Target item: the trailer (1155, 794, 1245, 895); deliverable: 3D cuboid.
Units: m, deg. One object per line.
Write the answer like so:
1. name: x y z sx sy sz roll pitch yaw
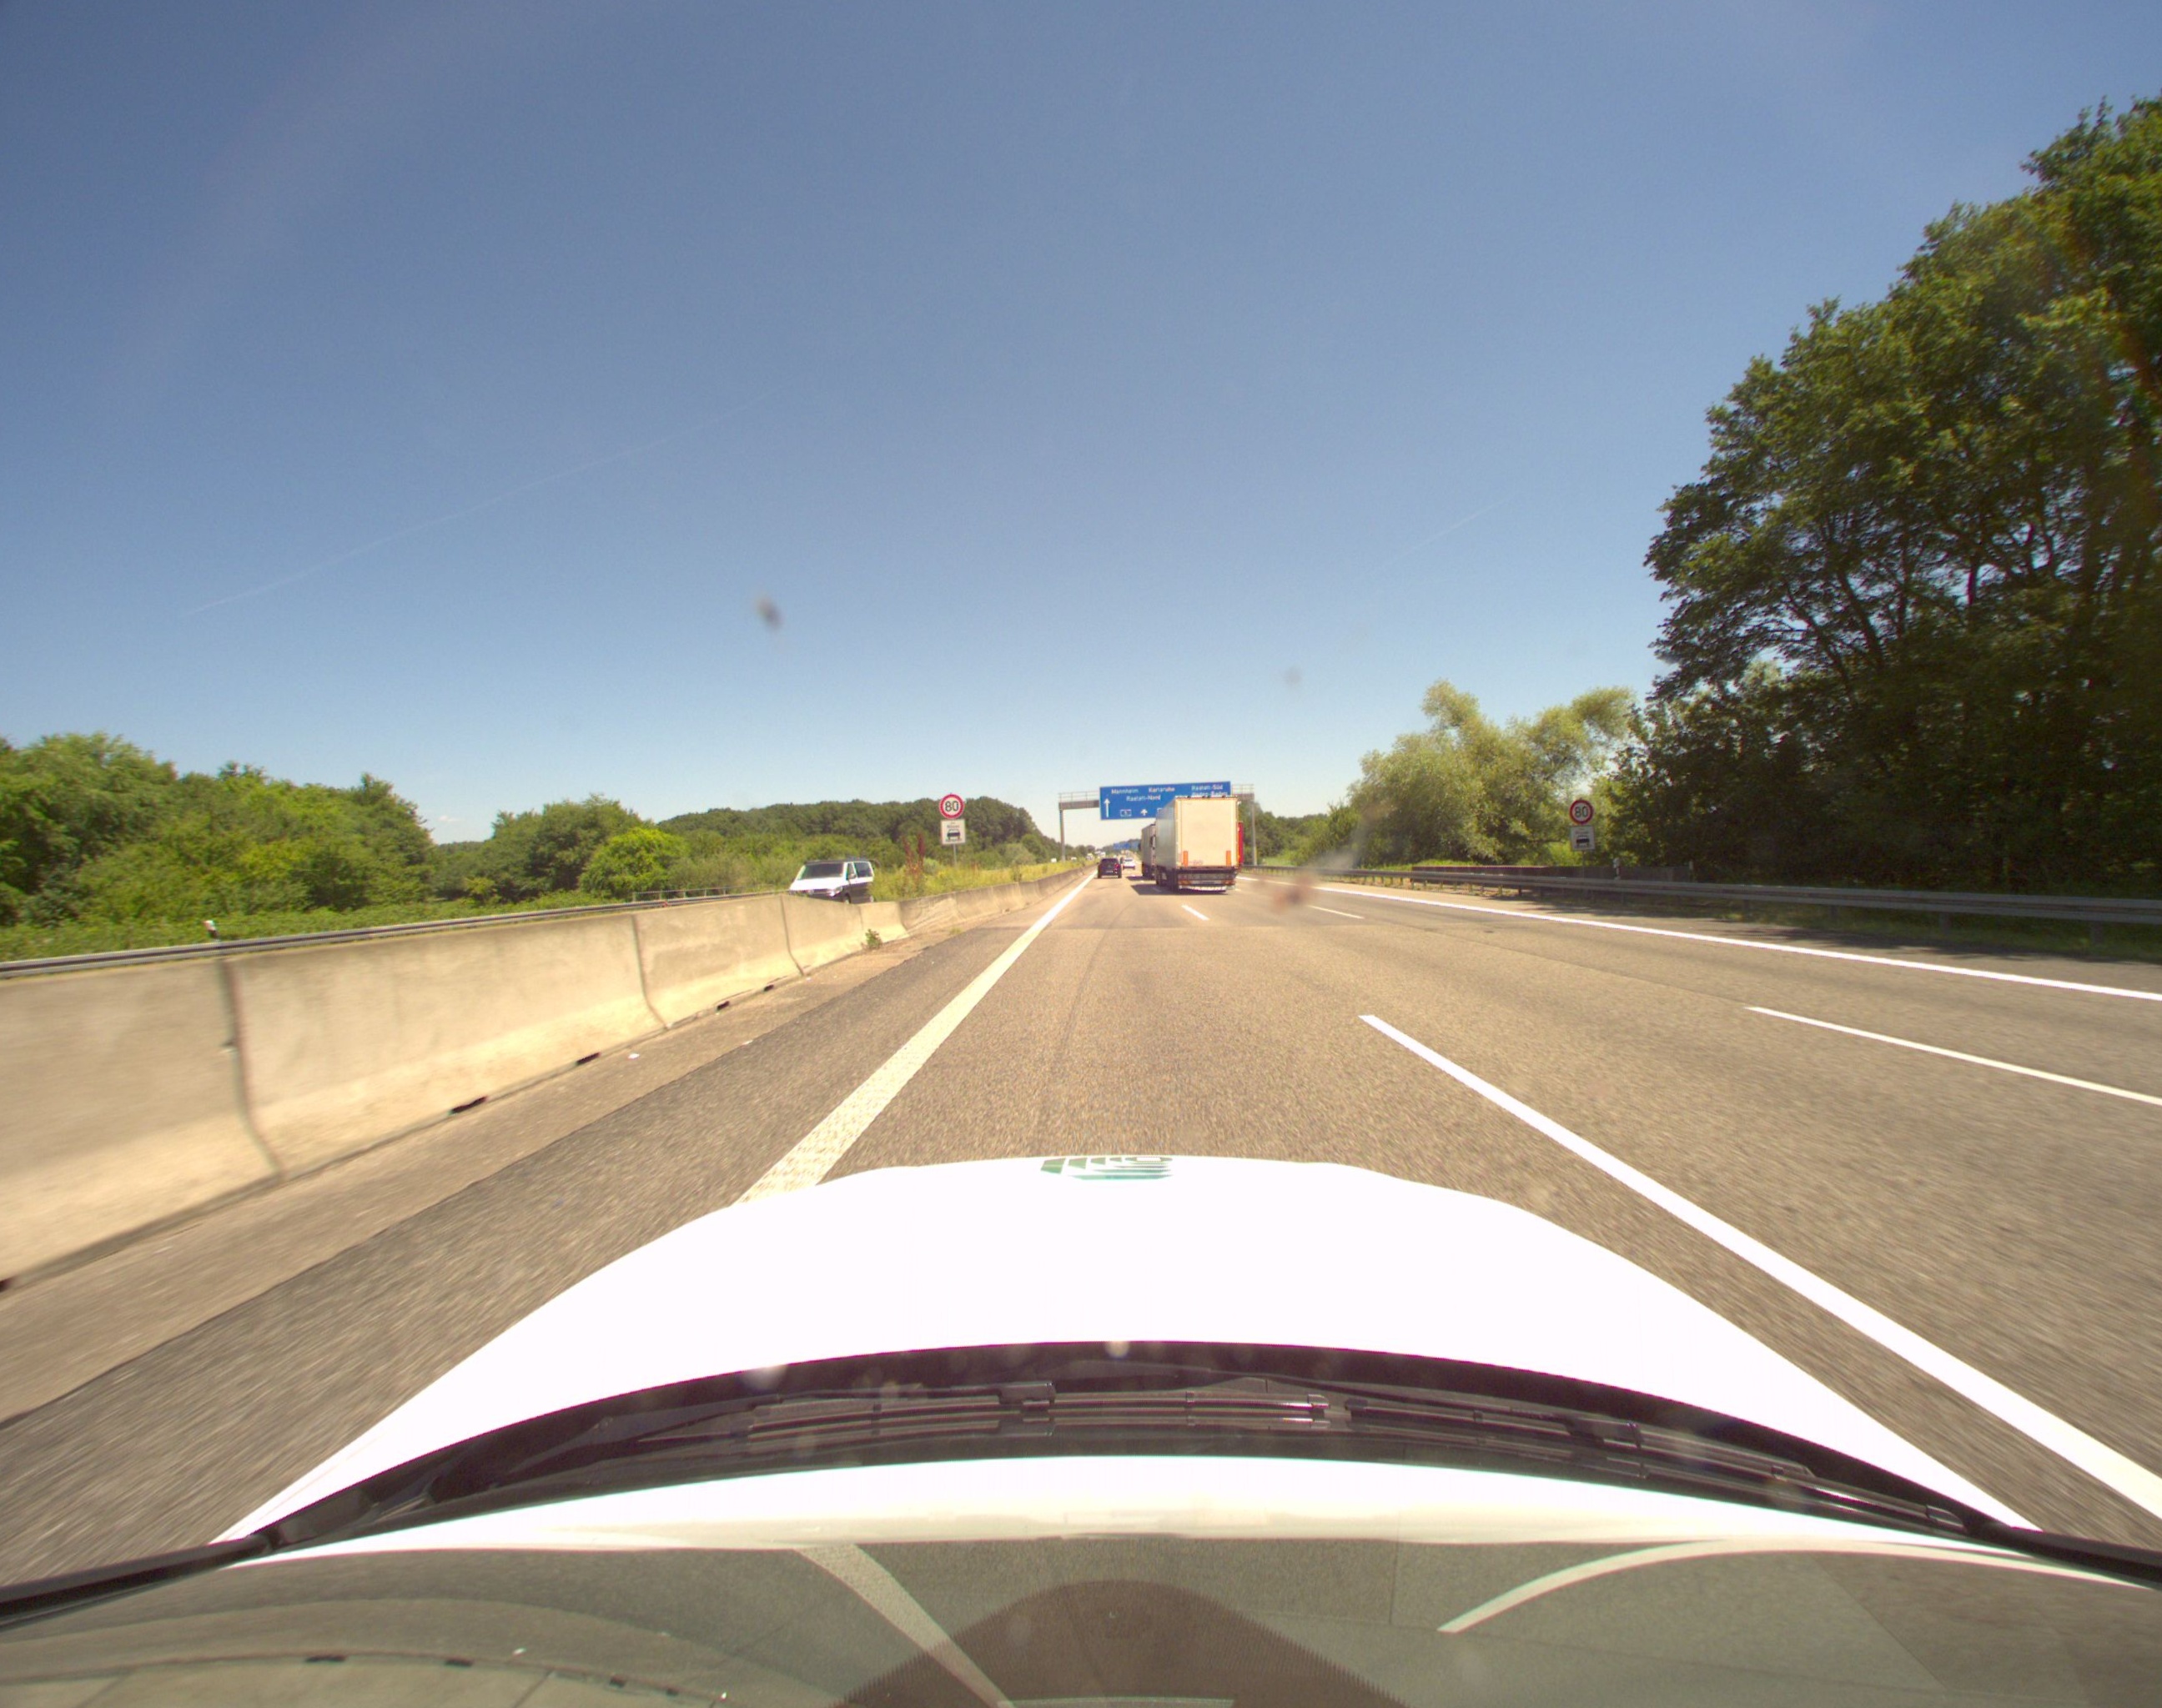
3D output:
1. trailer: 5.377 -0.363 39.187 2.784 4.035 12.572 -1 0 2

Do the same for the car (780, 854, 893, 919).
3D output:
1. car: -8.786 1.066 29.960 1.986 2.013 6.225 -4 0 2

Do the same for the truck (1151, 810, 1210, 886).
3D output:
1. truck: 5.620 -0.294 46.879 2.789 4.007 6.023 -1 0 2

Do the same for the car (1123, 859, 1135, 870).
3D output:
1. car: 6.953 1.467 117.806 1.733 1.486 4.003 -1 0 3

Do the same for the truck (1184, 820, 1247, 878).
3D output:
1. truck: 10.456 -0.298 64.760 3.045 4.106 13.220 -1 0 1

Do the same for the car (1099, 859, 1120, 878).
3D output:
1. car: 2.344 1.181 67.009 1.654 1.549 3.784 0 0 1

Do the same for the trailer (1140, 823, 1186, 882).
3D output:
1. trailer: 6.246 0.007 63.941 2.697 4.068 14.753 -1 -1 2
